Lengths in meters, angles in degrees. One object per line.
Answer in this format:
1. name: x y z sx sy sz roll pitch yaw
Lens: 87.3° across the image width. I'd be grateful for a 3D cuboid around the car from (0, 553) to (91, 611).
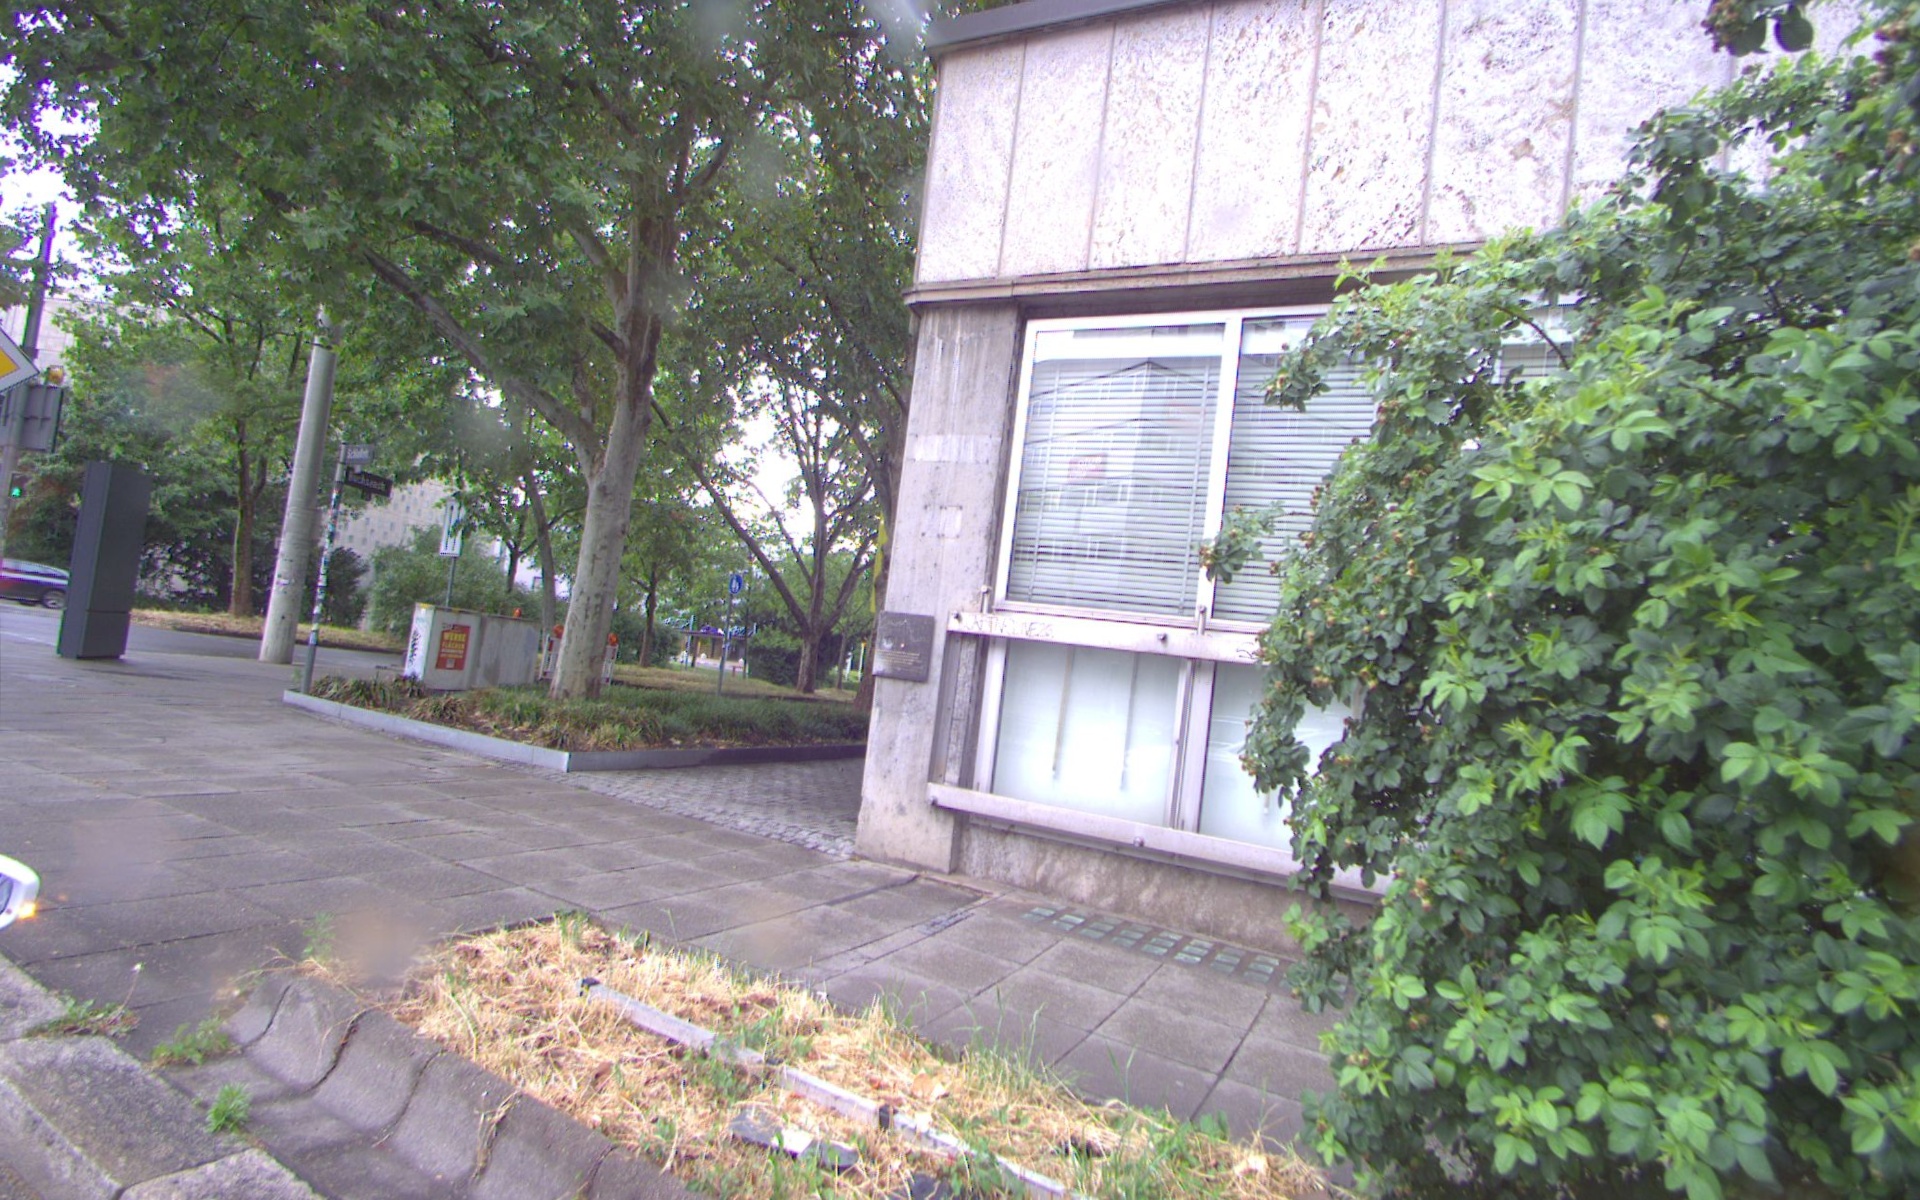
1. car: -30.313 -0.709 31.346 1.964 1.536 4.350 7 -2 26
